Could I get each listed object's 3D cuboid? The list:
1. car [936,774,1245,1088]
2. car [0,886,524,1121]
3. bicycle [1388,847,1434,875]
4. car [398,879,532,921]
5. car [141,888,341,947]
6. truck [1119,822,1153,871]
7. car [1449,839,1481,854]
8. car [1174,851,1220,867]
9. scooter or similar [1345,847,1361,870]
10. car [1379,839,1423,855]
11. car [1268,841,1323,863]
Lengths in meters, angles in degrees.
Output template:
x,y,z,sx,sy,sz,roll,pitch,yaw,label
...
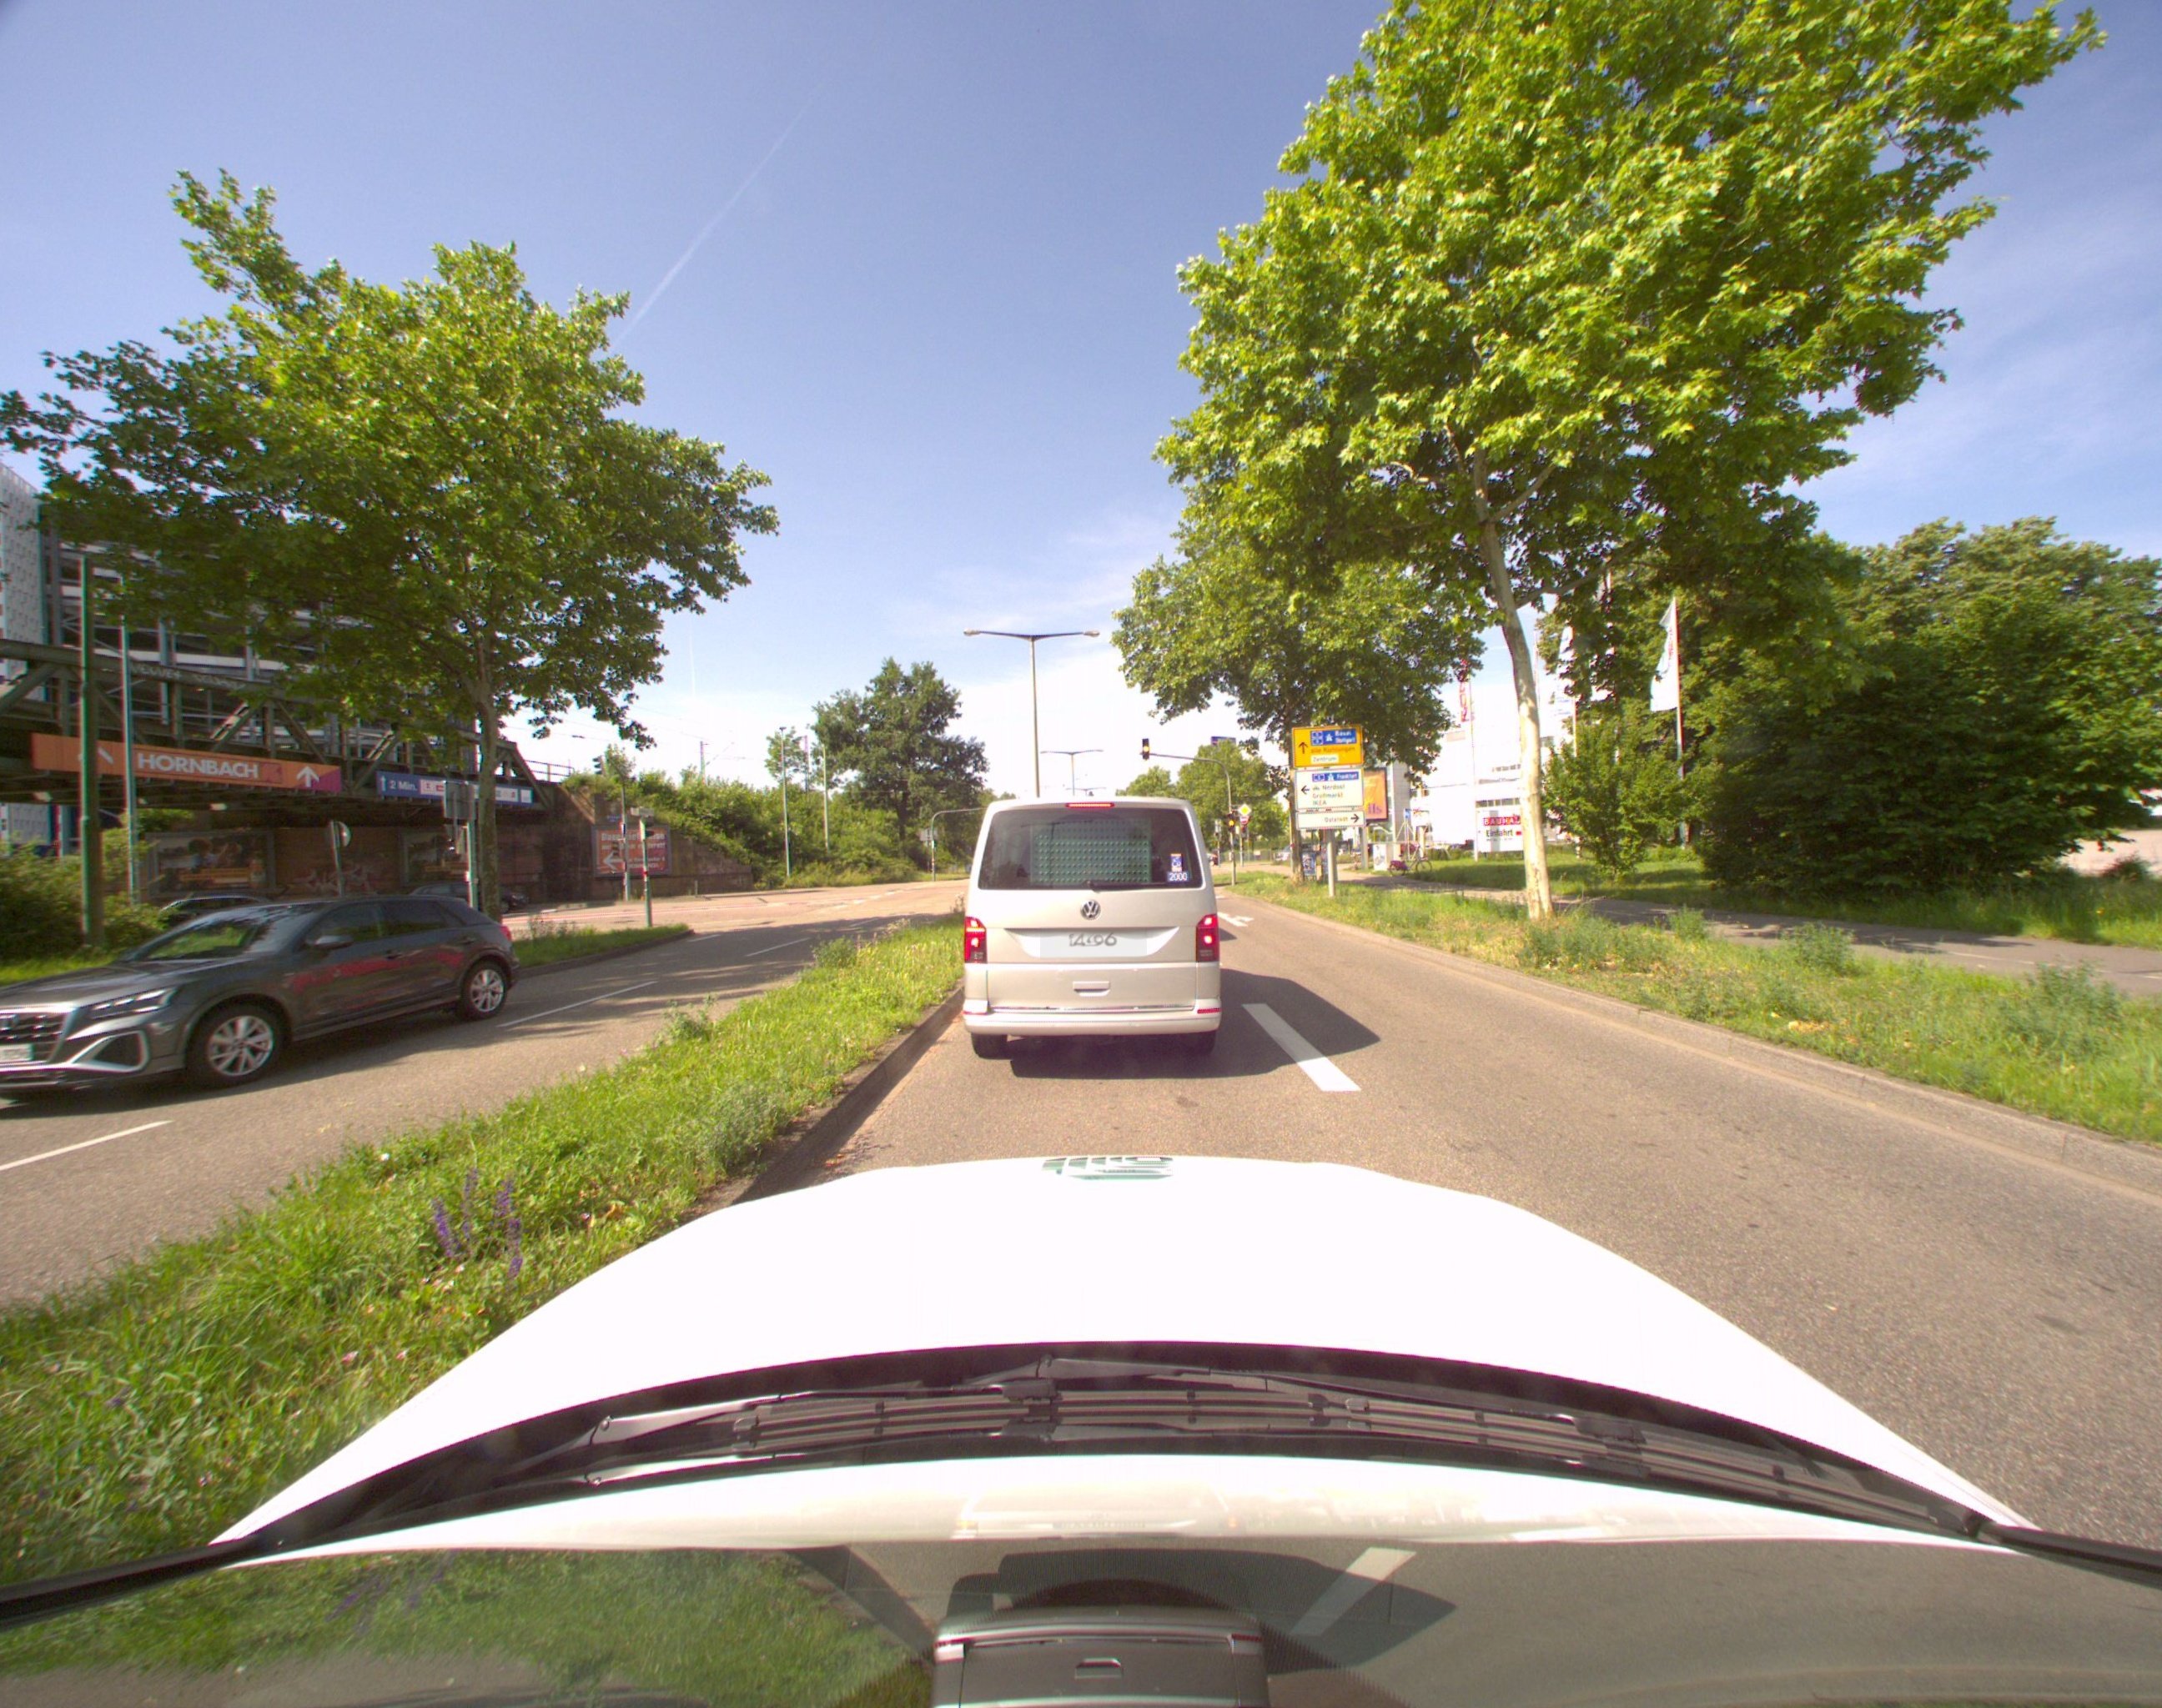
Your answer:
x,y,z,sx,sy,sz,roll,pitch,yaw,label
0.137,0.503,7.768,1.934,1.971,5.024,-2,0,2,car
-7.638,1.167,7.752,1.857,1.467,3.937,-4,0,0,car
14.196,0.298,35.072,1.771,1.108,0.506,-4,-1,20,bicycle
-25.613,1.876,34.065,4.353,1.395,1.752,-3,0,-35,car
-25.532,1.874,24.979,3.959,1.481,1.804,-1,-1,-34,car
4.817,-0.638,72.317,2.543,3.957,8.977,-2,0,2,truck
43.132,-0.804,91.500,3.626,1.566,1.976,0,-1,-41,car
12.417,0.551,87.206,4.566,1.444,1.793,-3,0,36,car
14.112,0.236,42.211,0.423,1.126,1.124,-3,0,1,scooter or similar
32.002,-0.712,81.463,4.646,1.444,1.762,-3,0,-35,car
18.028,-0.183,68.457,4.646,1.689,1.895,-3,0,-35,car
